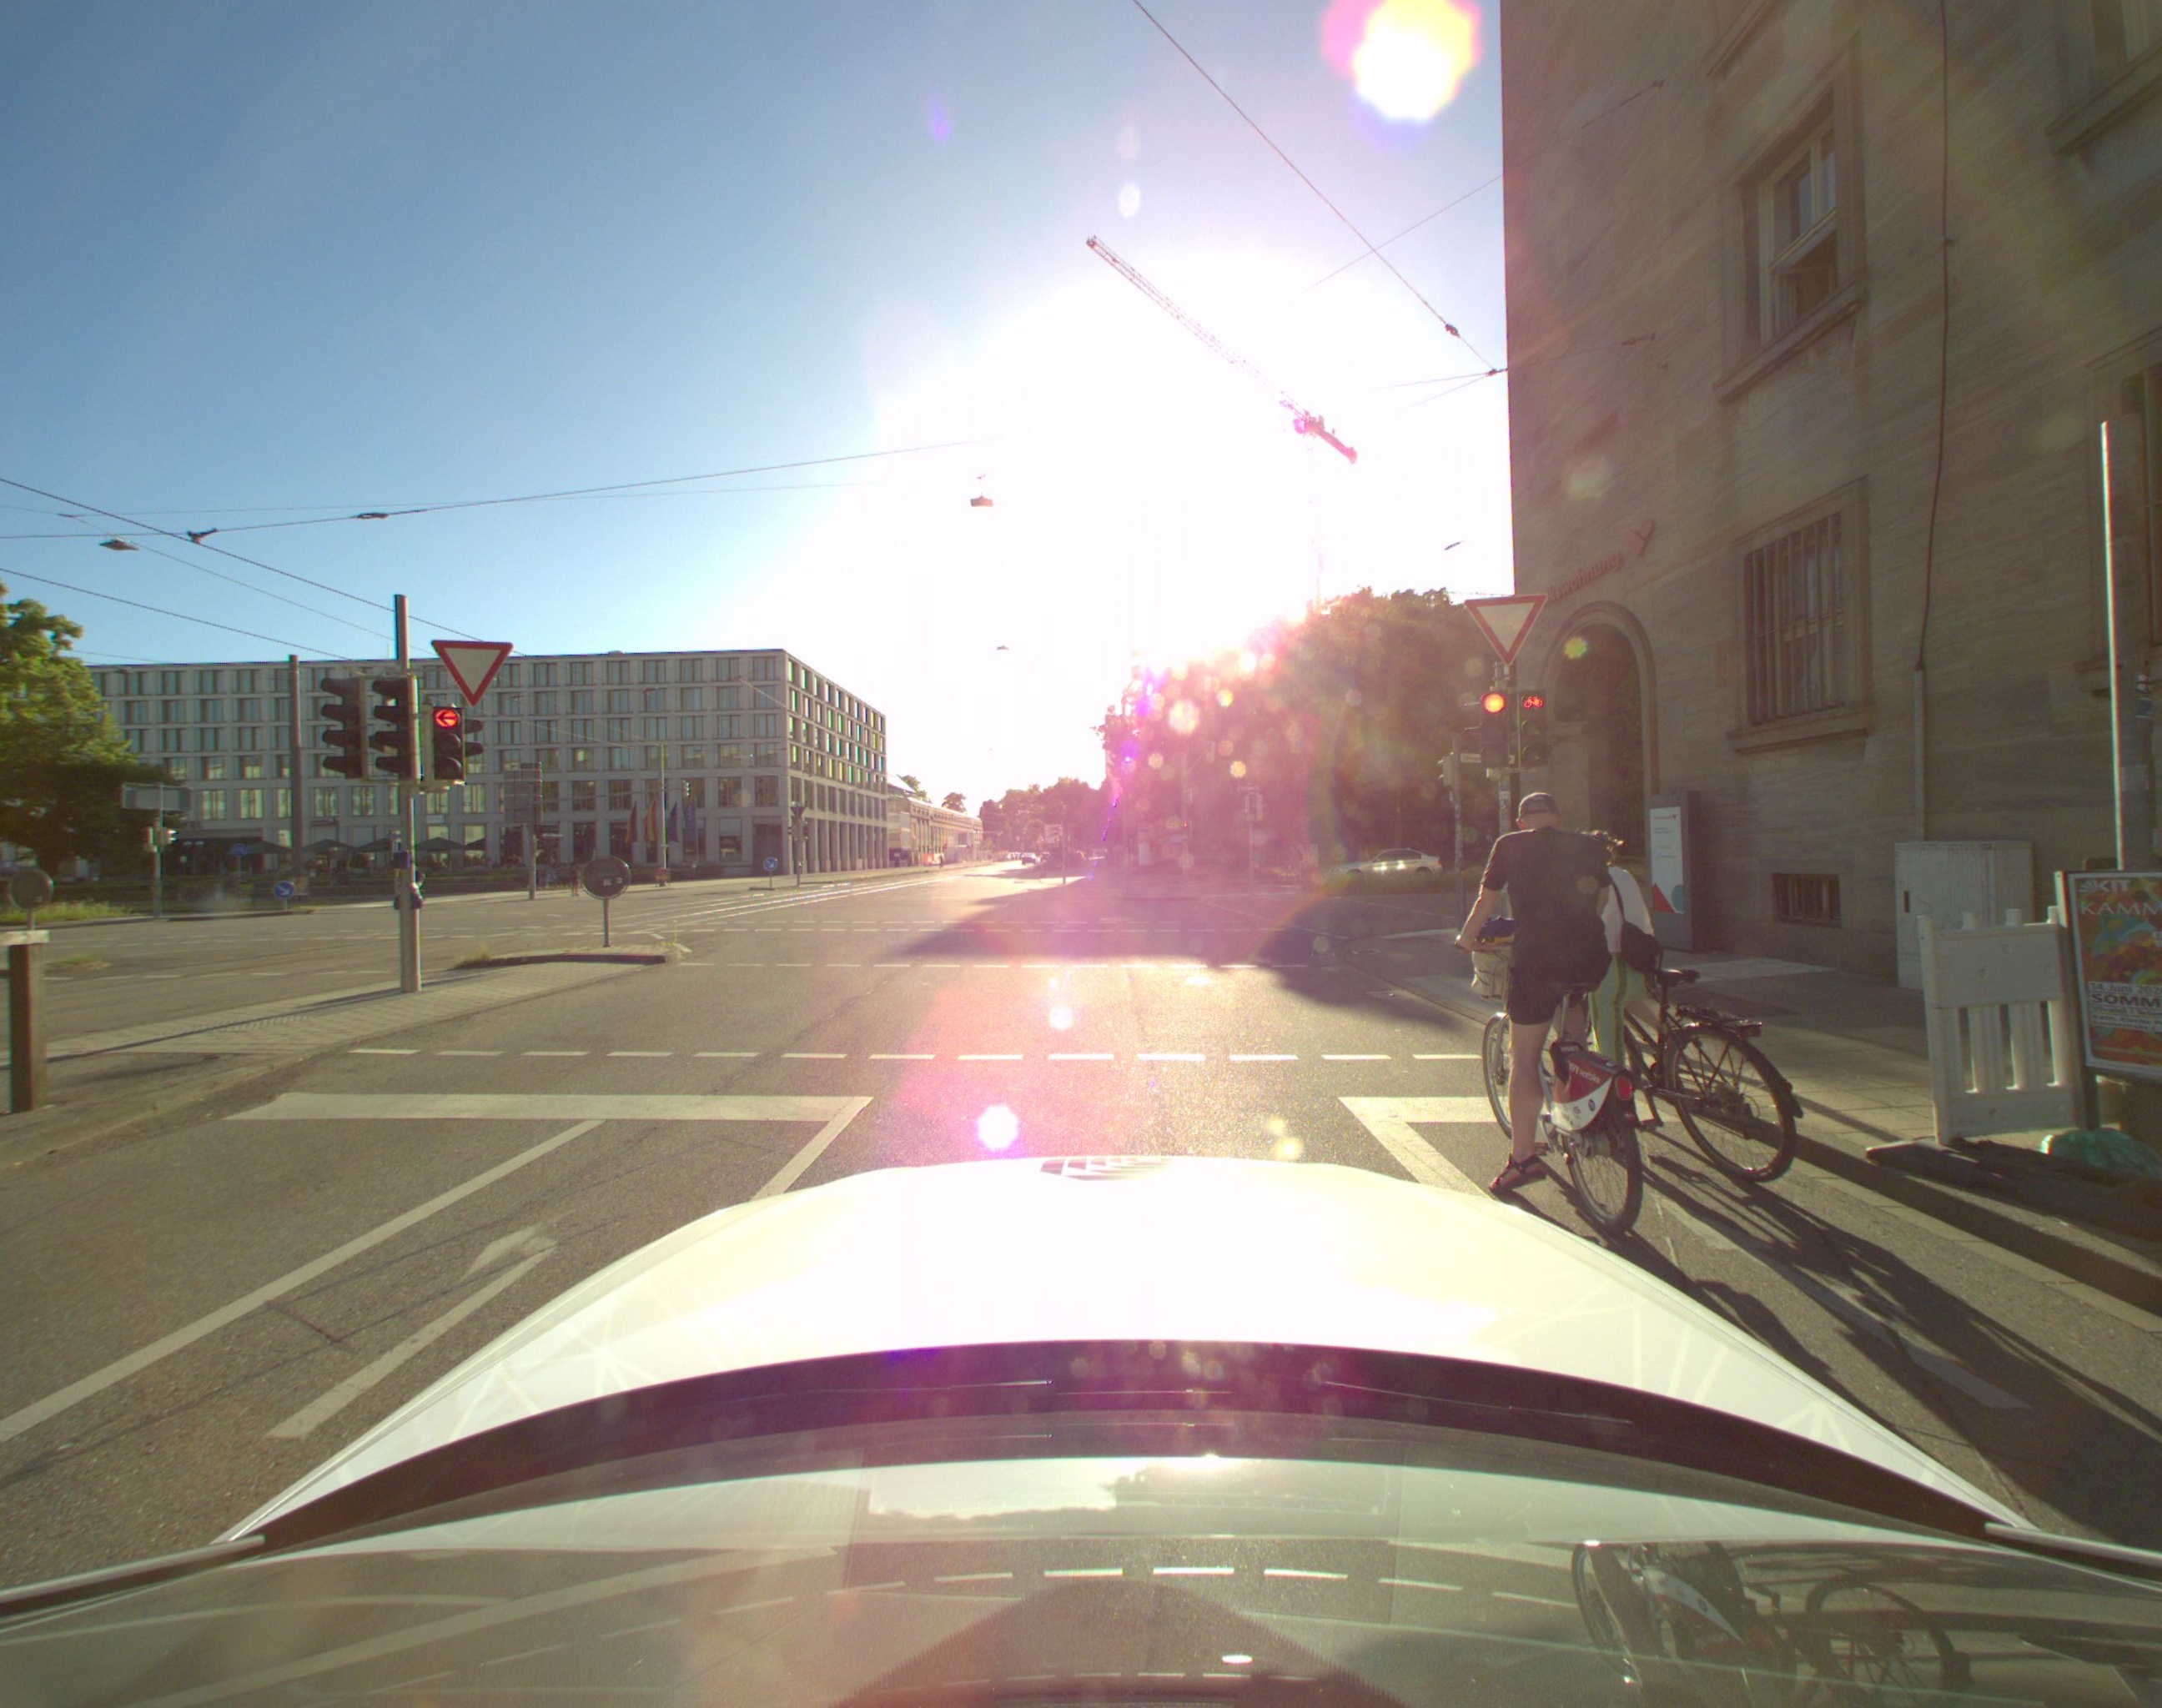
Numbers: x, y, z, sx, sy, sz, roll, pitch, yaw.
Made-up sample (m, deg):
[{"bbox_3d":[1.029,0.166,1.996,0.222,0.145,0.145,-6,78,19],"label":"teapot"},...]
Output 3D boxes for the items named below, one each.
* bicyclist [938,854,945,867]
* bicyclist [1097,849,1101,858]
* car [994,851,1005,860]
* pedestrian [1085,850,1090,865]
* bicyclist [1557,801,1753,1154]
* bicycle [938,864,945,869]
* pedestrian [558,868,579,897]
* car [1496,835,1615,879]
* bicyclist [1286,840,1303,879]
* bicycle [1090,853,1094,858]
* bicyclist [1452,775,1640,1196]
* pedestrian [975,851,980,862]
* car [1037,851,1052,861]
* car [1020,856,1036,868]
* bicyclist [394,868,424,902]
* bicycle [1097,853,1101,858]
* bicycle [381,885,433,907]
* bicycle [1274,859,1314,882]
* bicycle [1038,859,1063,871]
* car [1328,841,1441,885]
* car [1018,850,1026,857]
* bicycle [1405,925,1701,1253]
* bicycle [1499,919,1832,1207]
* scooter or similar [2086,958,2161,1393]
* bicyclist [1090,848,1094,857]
[{"bbox_3d":[-15.292,0.733,89.151,0.594,1.377,0.637,0,-1,0],"label":"bicyclist"},{"bbox_3d":[3.423,-0.139,155.294,0.567,1.691,0.700,-2,0,1],"label":"bicyclist"},{"bbox_3d":[-15.654,0.267,157.071,1.688,1.718,4.245,0,-1,-1],"label":"car"},{"bbox_3d":[0.783,0.417,97.917,0.462,1.813,0.502,-2,0,-3],"label":"pedestrian"},{"bbox_3d":[2.954,0.594,4.244,0.556,1.691,0.640,-1,0,0],"label":"bicyclist"},{"bbox_3d":[-15.277,1.353,89.143,0.499,0.515,1.258,0,-1,1],"label":"bicycle"},{"bbox_3d":[-28.703,1.579,45.579,0.774,1.589,0.590,-2,0,-5],"label":"pedestrian"},{"bbox_3d":[19.220,0.118,33.108,3.835,1.611,1.650,-2,0,1],"label":"car"},{"bbox_3d":[9.488,0.247,36.256,0.640,1.683,0.508,-2,0,7],"label":"bicyclist"},{"bbox_3d":[2.110,0.287,155.180,0.573,1.077,1.831,-2,0,1],"label":"bicycle"},{"bbox_3d":[2.123,0.564,3.777,0.556,1.799,0.551,-1,0,3],"label":"bicyclist"},{"bbox_3d":[-18.905,0.424,148.927,0.672,2.014,0.751,0,-1,-1],"label":"pedestrian"},{"bbox_3d":[-6.051,0.273,135.498,1.882,1.565,4.815,1,0,6],"label":"car"},{"bbox_3d":[-6.758,0.994,104.585,1.654,1.455,4.434,-1,0,2],"label":"car"},{"bbox_3d":[-32.691,1.509,39.630,0.753,1.589,0.781,-2,0,15],"label":"bicyclist"},{"bbox_3d":[3.436,0.278,155.259,0.573,1.077,1.831,-2,0,1],"label":"bicycle"},{"bbox_3d":[-32.715,2.044,39.559,0.755,0.935,1.869,-2,0,11],"label":"bicycle"},{"bbox_3d":[9.475,0.740,36.274,1.657,0.963,0.535,-2,0,7],"label":"bicycle"},{"bbox_3d":[-2.566,0.909,67.702,1.996,0.891,0.655,-4,-1,29],"label":"bicycle"},{"bbox_3d":[12.349,0.355,33.252,3.979,1.611,1.650,-2,0,1],"label":"car"},{"bbox_3d":[-14.221,-0.116,195.321,1.688,1.718,4.245,0,-1,-1],"label":"car"},{"bbox_3d":[2.121,0.961,3.934,0.513,1.077,1.729,-1,0,4],"label":"bicycle"},{"bbox_3d":[2.943,0.961,4.350,0.532,1.077,1.751,-1,0,1],"label":"bicycle"},{"bbox_3d":[3.249,0.900,1.746,0.533,1.185,1.328,-2,0,1],"label":"scooter or similar"},{"bbox_3d":[2.101,-0.243,155.246,0.567,1.691,0.700,-2,0,1],"label":"bicyclist"}]
